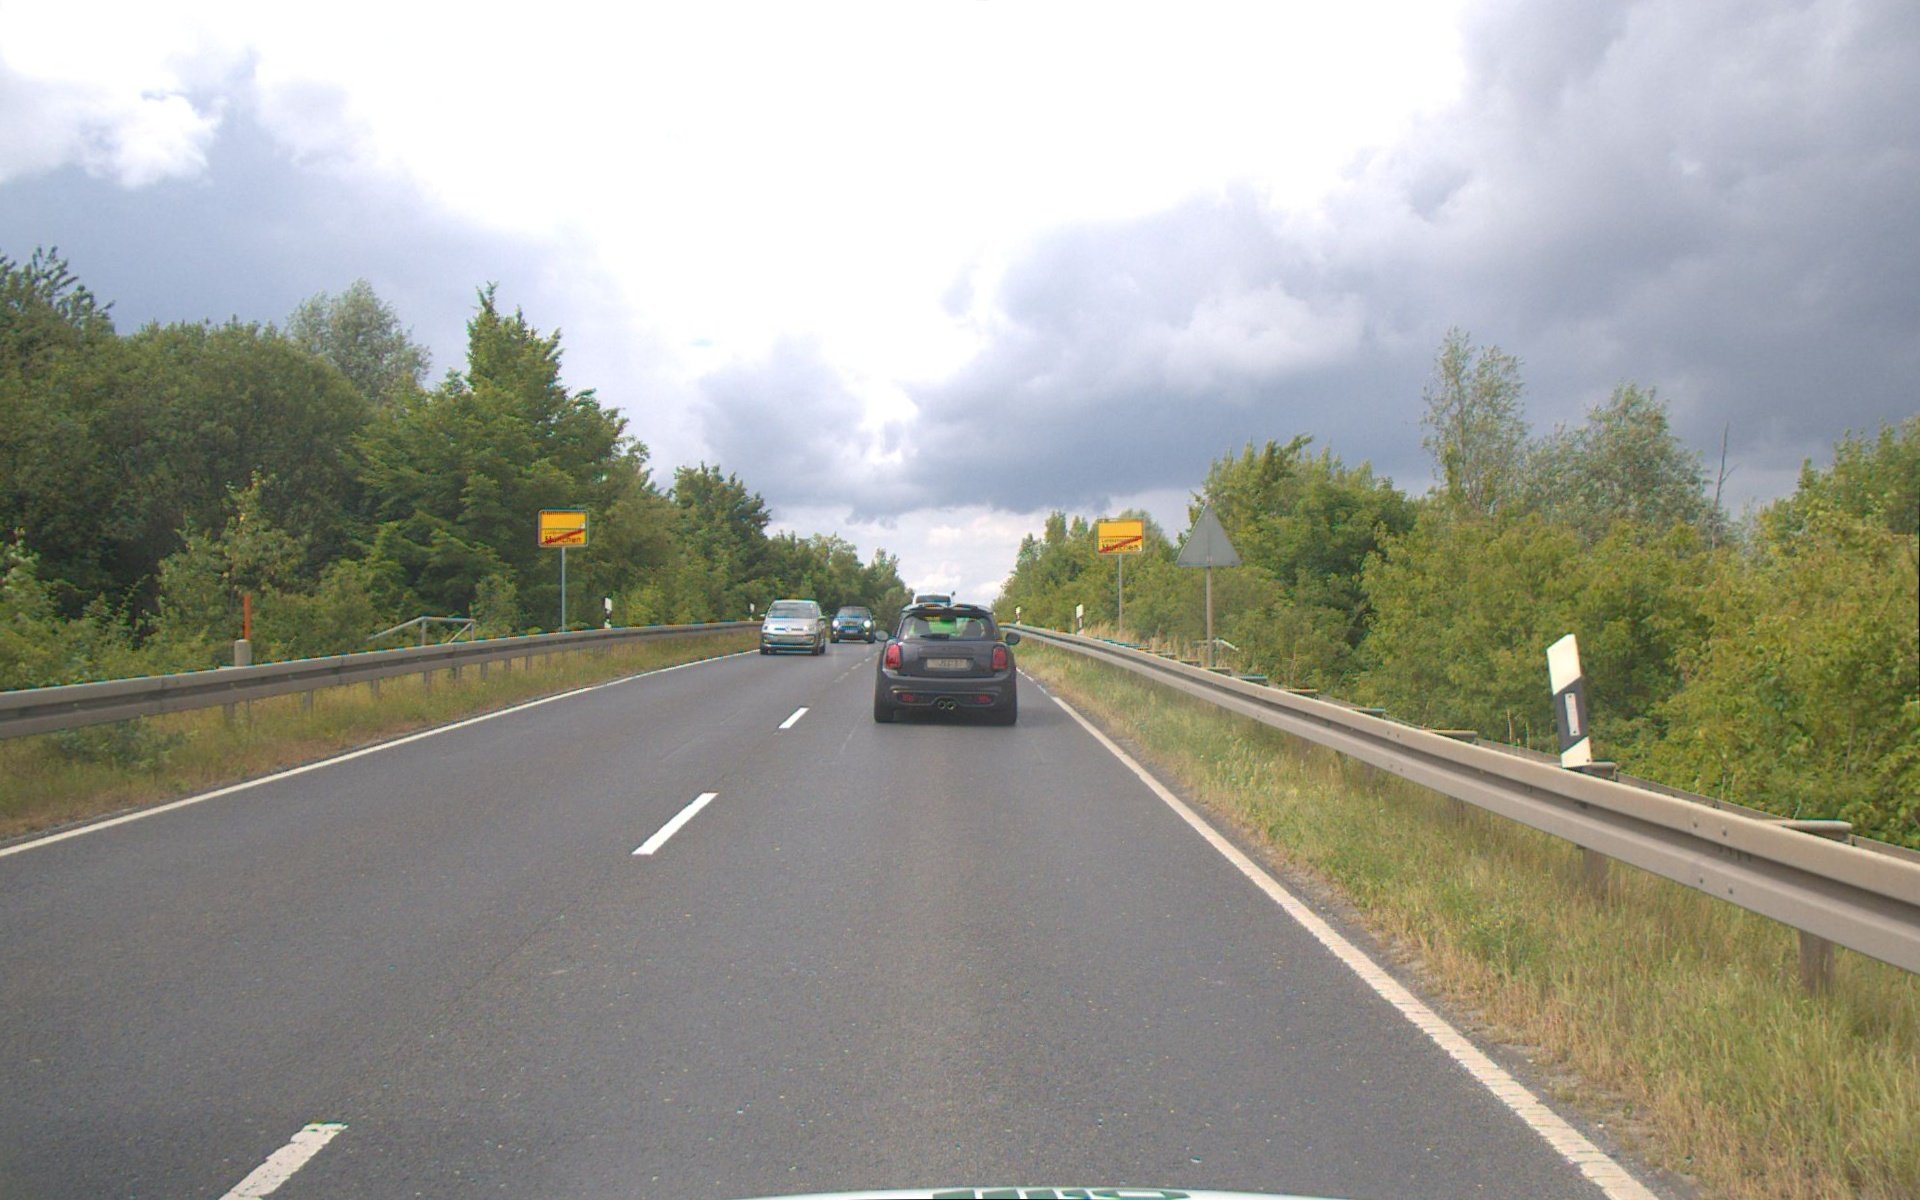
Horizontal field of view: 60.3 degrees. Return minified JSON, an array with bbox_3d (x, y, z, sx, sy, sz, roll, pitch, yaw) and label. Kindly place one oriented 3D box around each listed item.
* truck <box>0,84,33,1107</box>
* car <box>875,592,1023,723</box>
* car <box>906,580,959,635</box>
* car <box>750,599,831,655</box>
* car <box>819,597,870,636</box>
[{"bbox_3d":[-3.558,-0.007,1.102,2.023,2.790,7.005,1,0,-1],"label":"truck"},{"bbox_3d":[-0.129,0.656,21.139,1.696,1.481,4.000,1,0,0],"label":"car"},{"bbox_3d":[-1.073,0.289,64.362,1.981,2.048,3.999,0,0,-1],"label":"car"},{"bbox_3d":[-4.682,0.729,46.104,1.797,1.470,4.000,1,0,1],"label":"car"},{"bbox_3d":[-4.503,0.615,64.998,1.798,1.445,3.999,1,0,-1],"label":"car"}]
